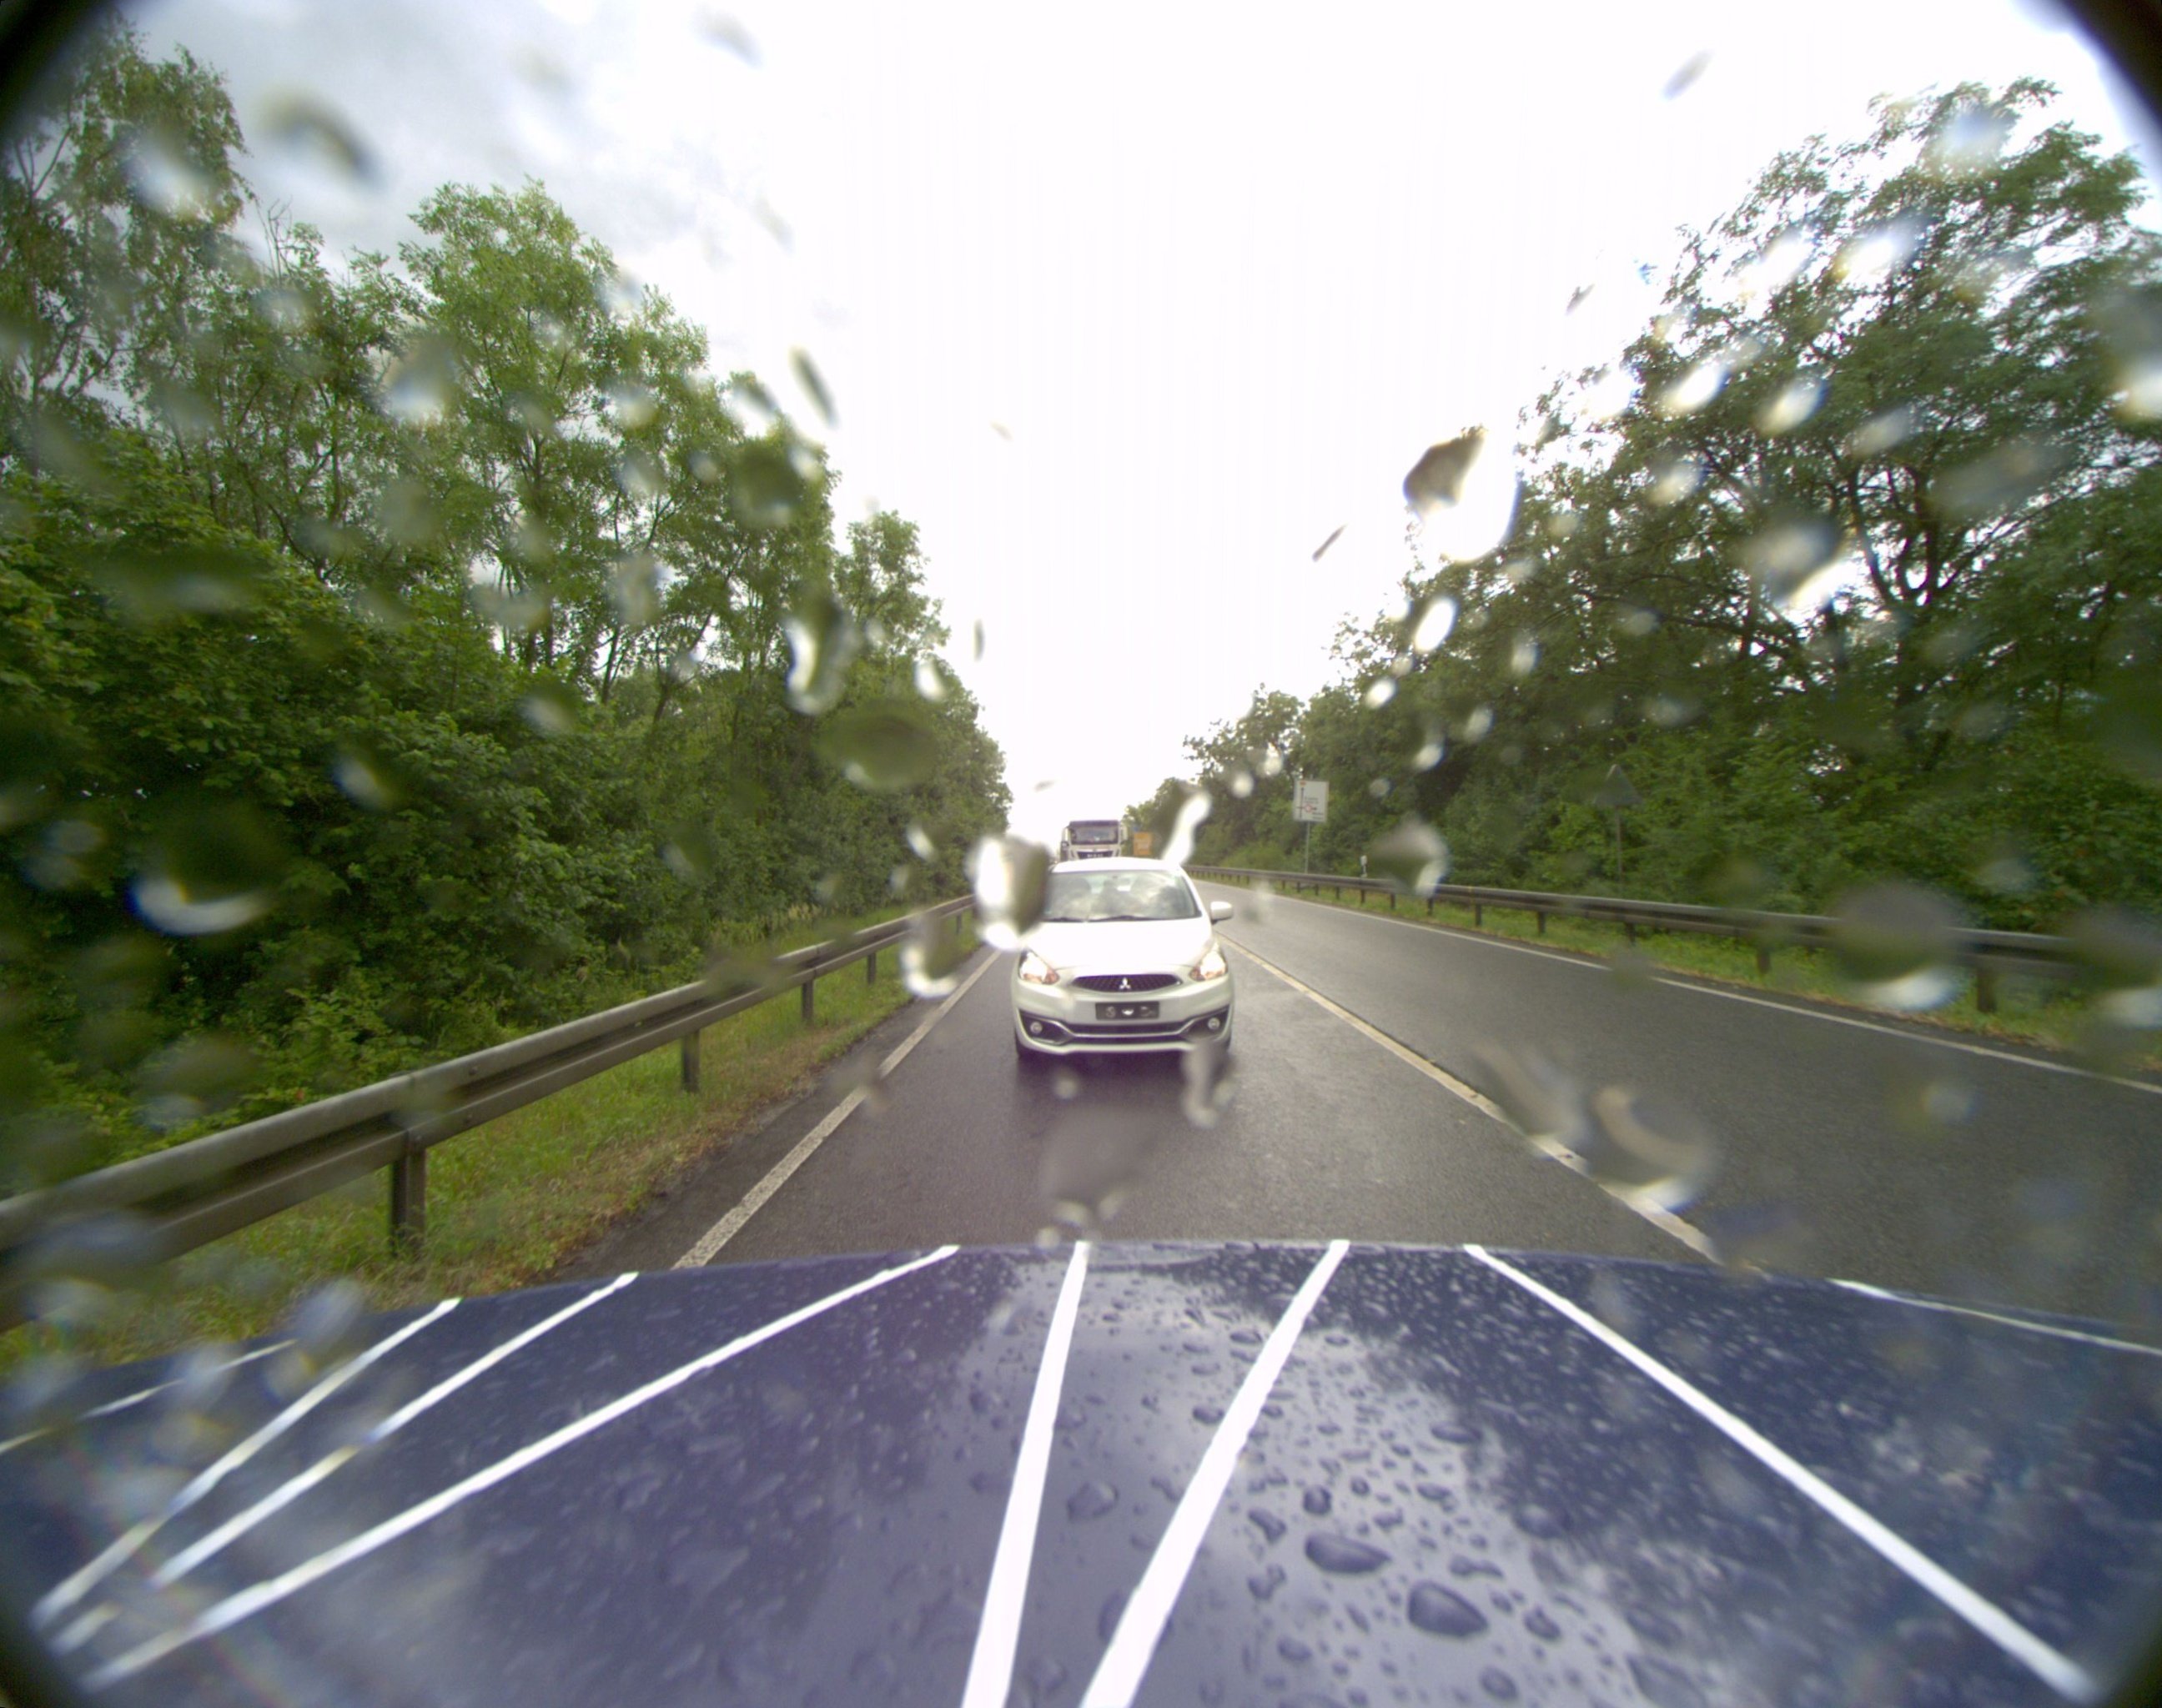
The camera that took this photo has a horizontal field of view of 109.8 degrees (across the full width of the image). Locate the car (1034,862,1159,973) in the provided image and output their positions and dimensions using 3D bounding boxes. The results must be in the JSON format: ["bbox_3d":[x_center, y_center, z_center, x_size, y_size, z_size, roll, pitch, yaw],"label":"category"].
[{"bbox_3d":[0.277,0.884,12.565,1.640,1.413,4.492,-2,0,2],"label":"car"}]

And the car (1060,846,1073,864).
[{"bbox_3d":[-1.989,0.109,104.768,1.613,2.422,3.999,-2,1,0],"label":"car"}]

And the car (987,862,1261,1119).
[{"bbox_3d":[0.264,0.848,6.715,1.610,1.435,4.209,-2,0,0],"label":"car"}]

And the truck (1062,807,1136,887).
[{"bbox_3d":[0.708,-0.364,38.007,3.136,3.364,9.281,-2,1,-1],"label":"truck"}]
